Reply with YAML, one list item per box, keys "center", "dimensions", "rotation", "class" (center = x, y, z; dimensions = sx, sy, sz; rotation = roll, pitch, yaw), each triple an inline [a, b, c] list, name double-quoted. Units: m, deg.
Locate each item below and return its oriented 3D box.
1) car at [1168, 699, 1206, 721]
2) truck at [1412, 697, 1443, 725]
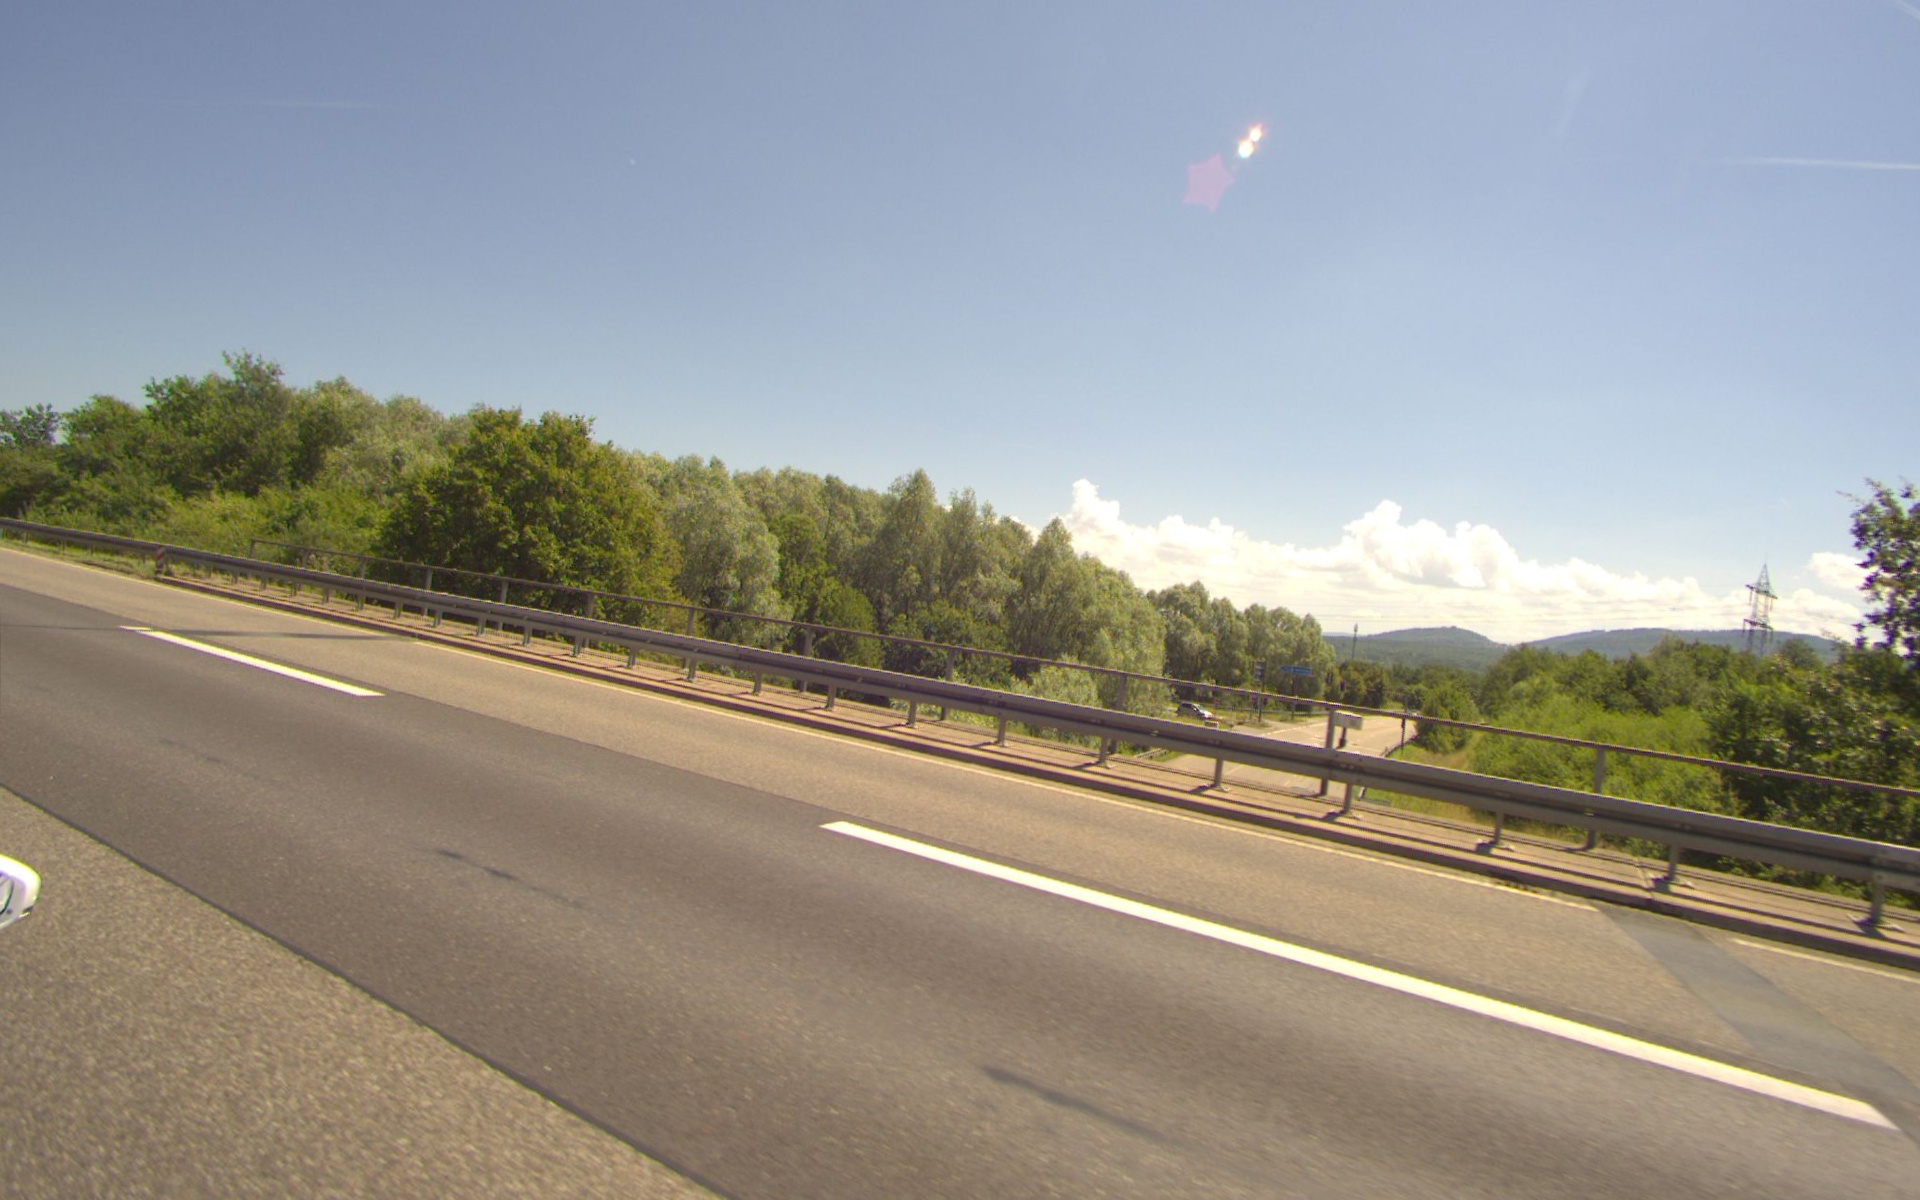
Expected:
- center: [27.512, 13.388, 122.037]
  dimensions: [3.934, 2.036, 1.998]
  rotation: [6, -3, 32]
  class: "car"
- center: [77.165, 18.304, 165.968]
  dimensions: [3.539, 3.809, 8.120]
  rotation: [8, 0, 30]
  class: "truck"
